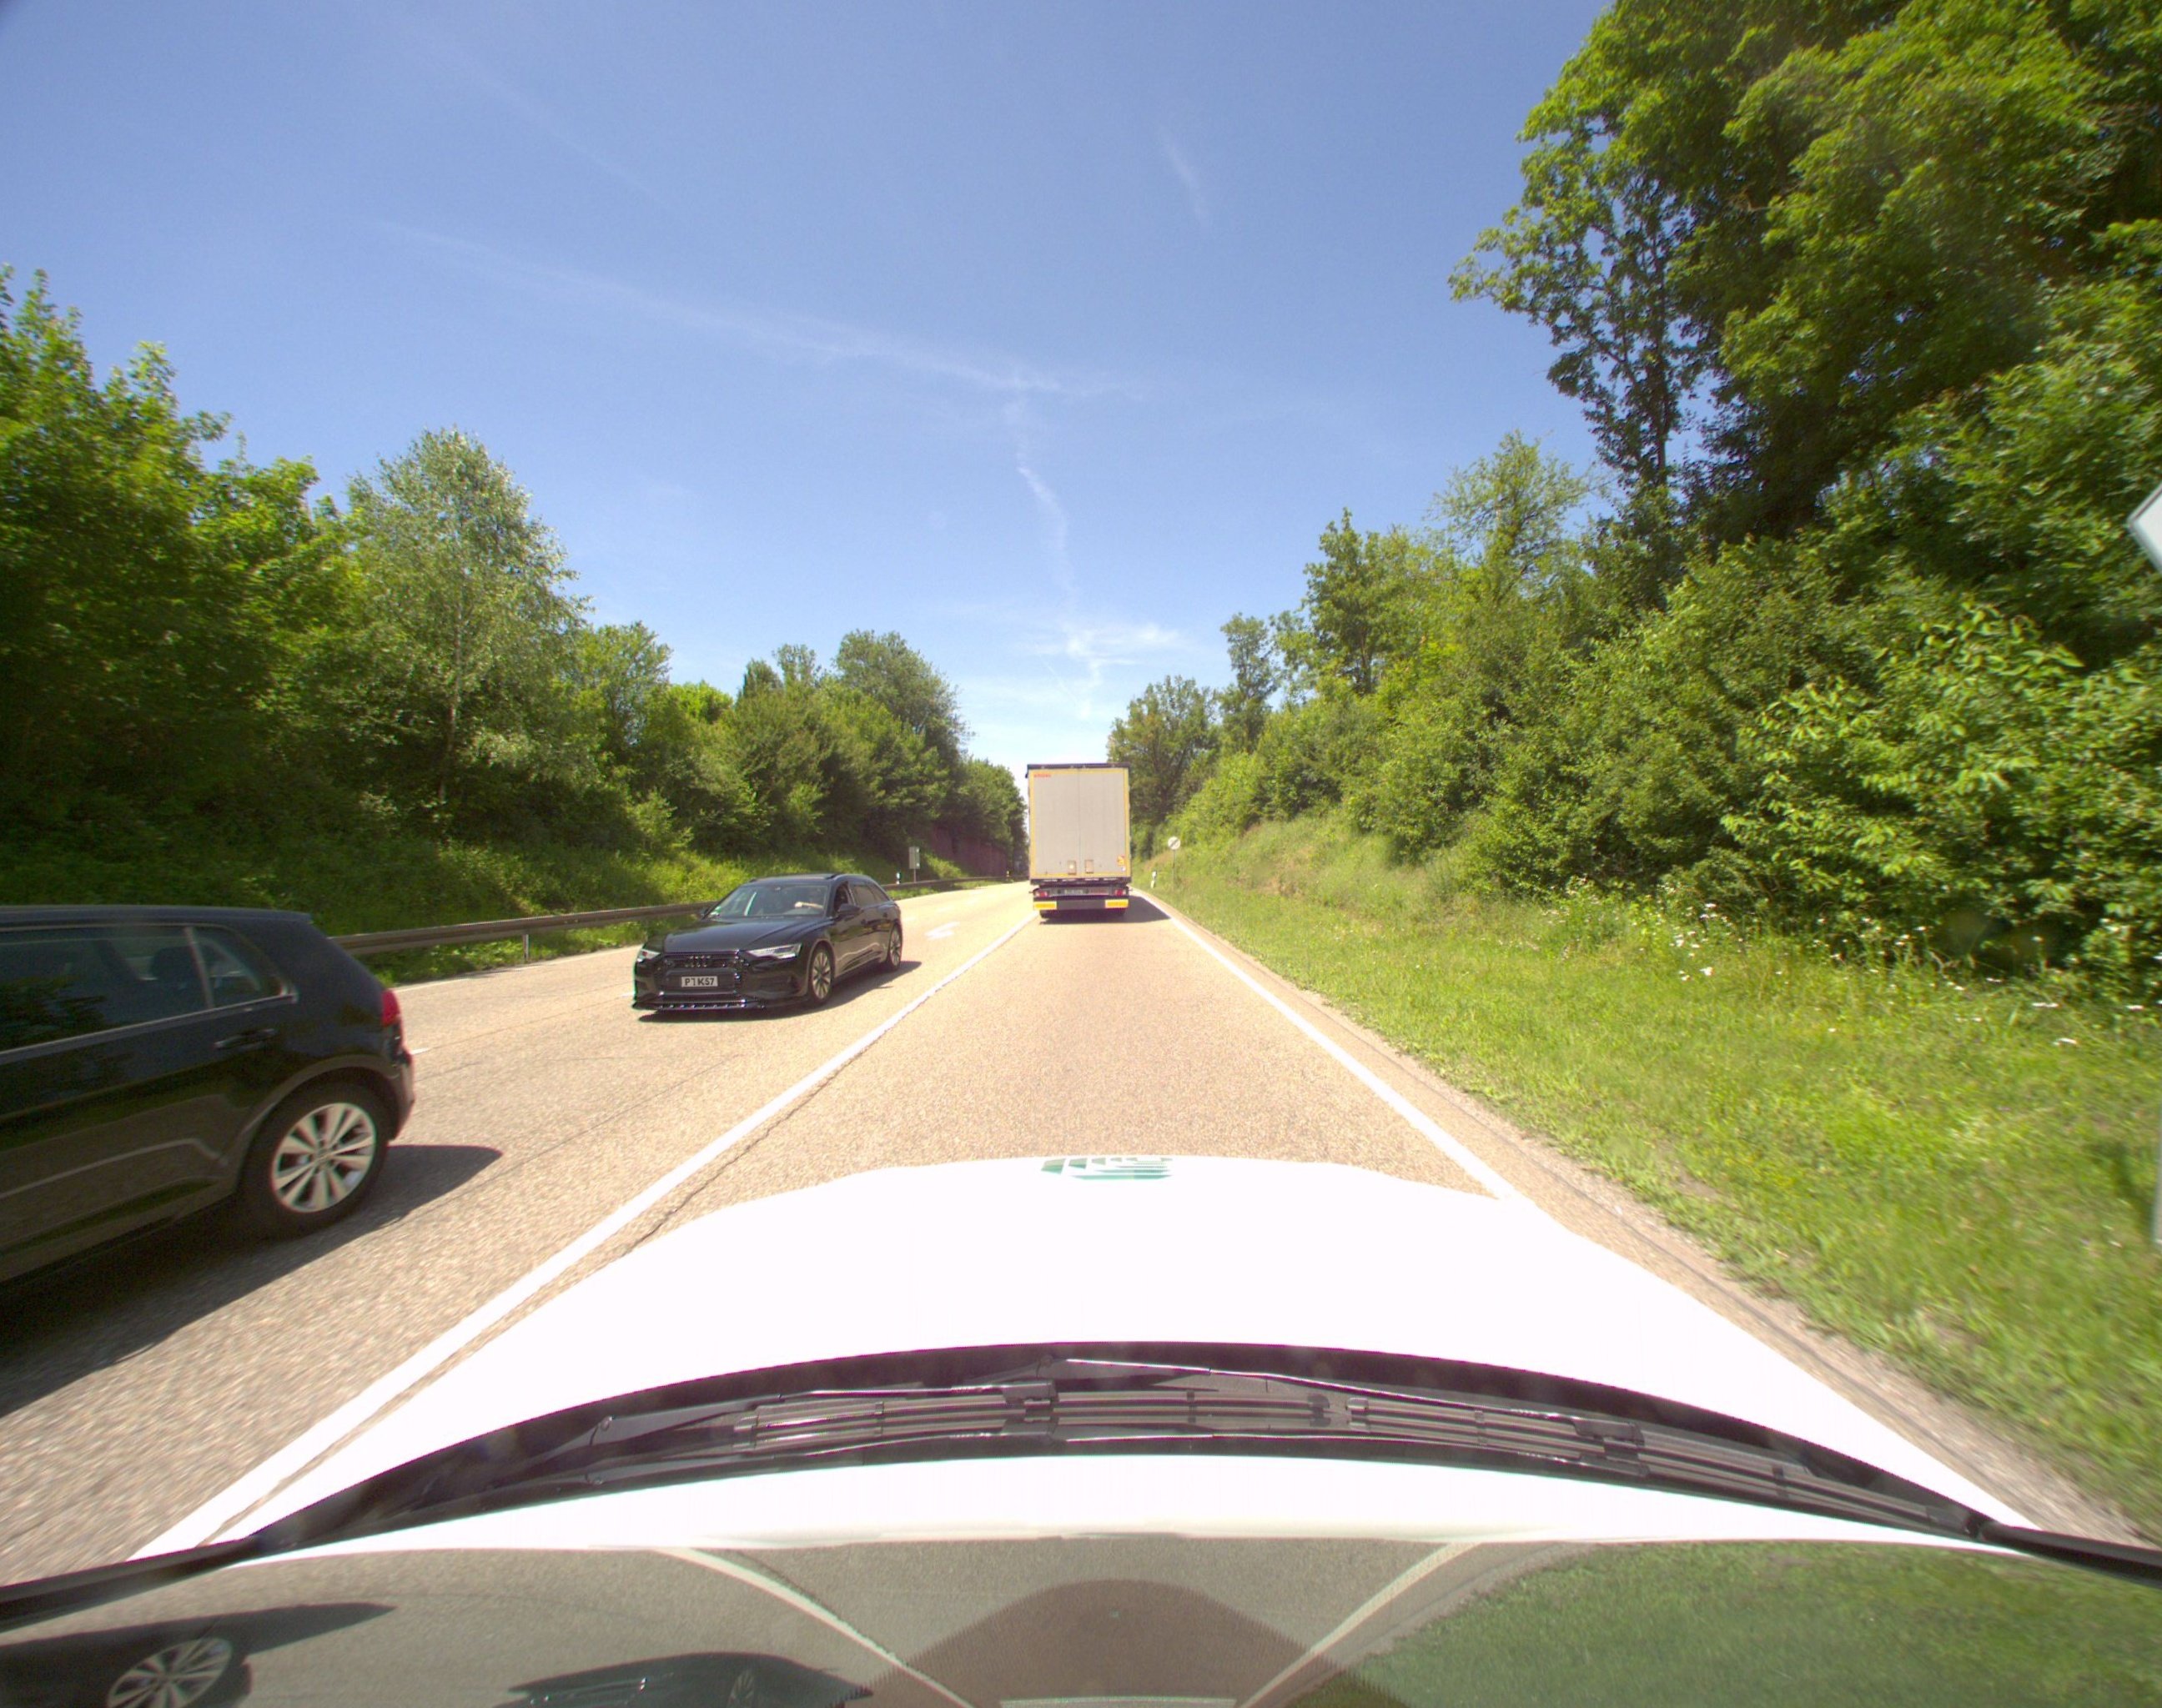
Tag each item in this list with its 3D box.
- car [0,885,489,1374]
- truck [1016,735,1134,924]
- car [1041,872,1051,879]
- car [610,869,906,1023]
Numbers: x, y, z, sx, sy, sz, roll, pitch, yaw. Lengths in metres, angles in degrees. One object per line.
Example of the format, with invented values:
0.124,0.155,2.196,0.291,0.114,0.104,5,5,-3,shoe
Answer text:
-4.115,0.886,2.304,1.675,1.414,4.183,-2,-1,2,car
-0.100,-0.599,23.475,2.813,4.604,6.665,-1,0,1,truck
-7.658,4.619,177.741,1.806,1.435,3.858,-2,-1,-9,car
-3.684,0.956,10.274,1.797,1.453,4.389,-1,-1,2,car
